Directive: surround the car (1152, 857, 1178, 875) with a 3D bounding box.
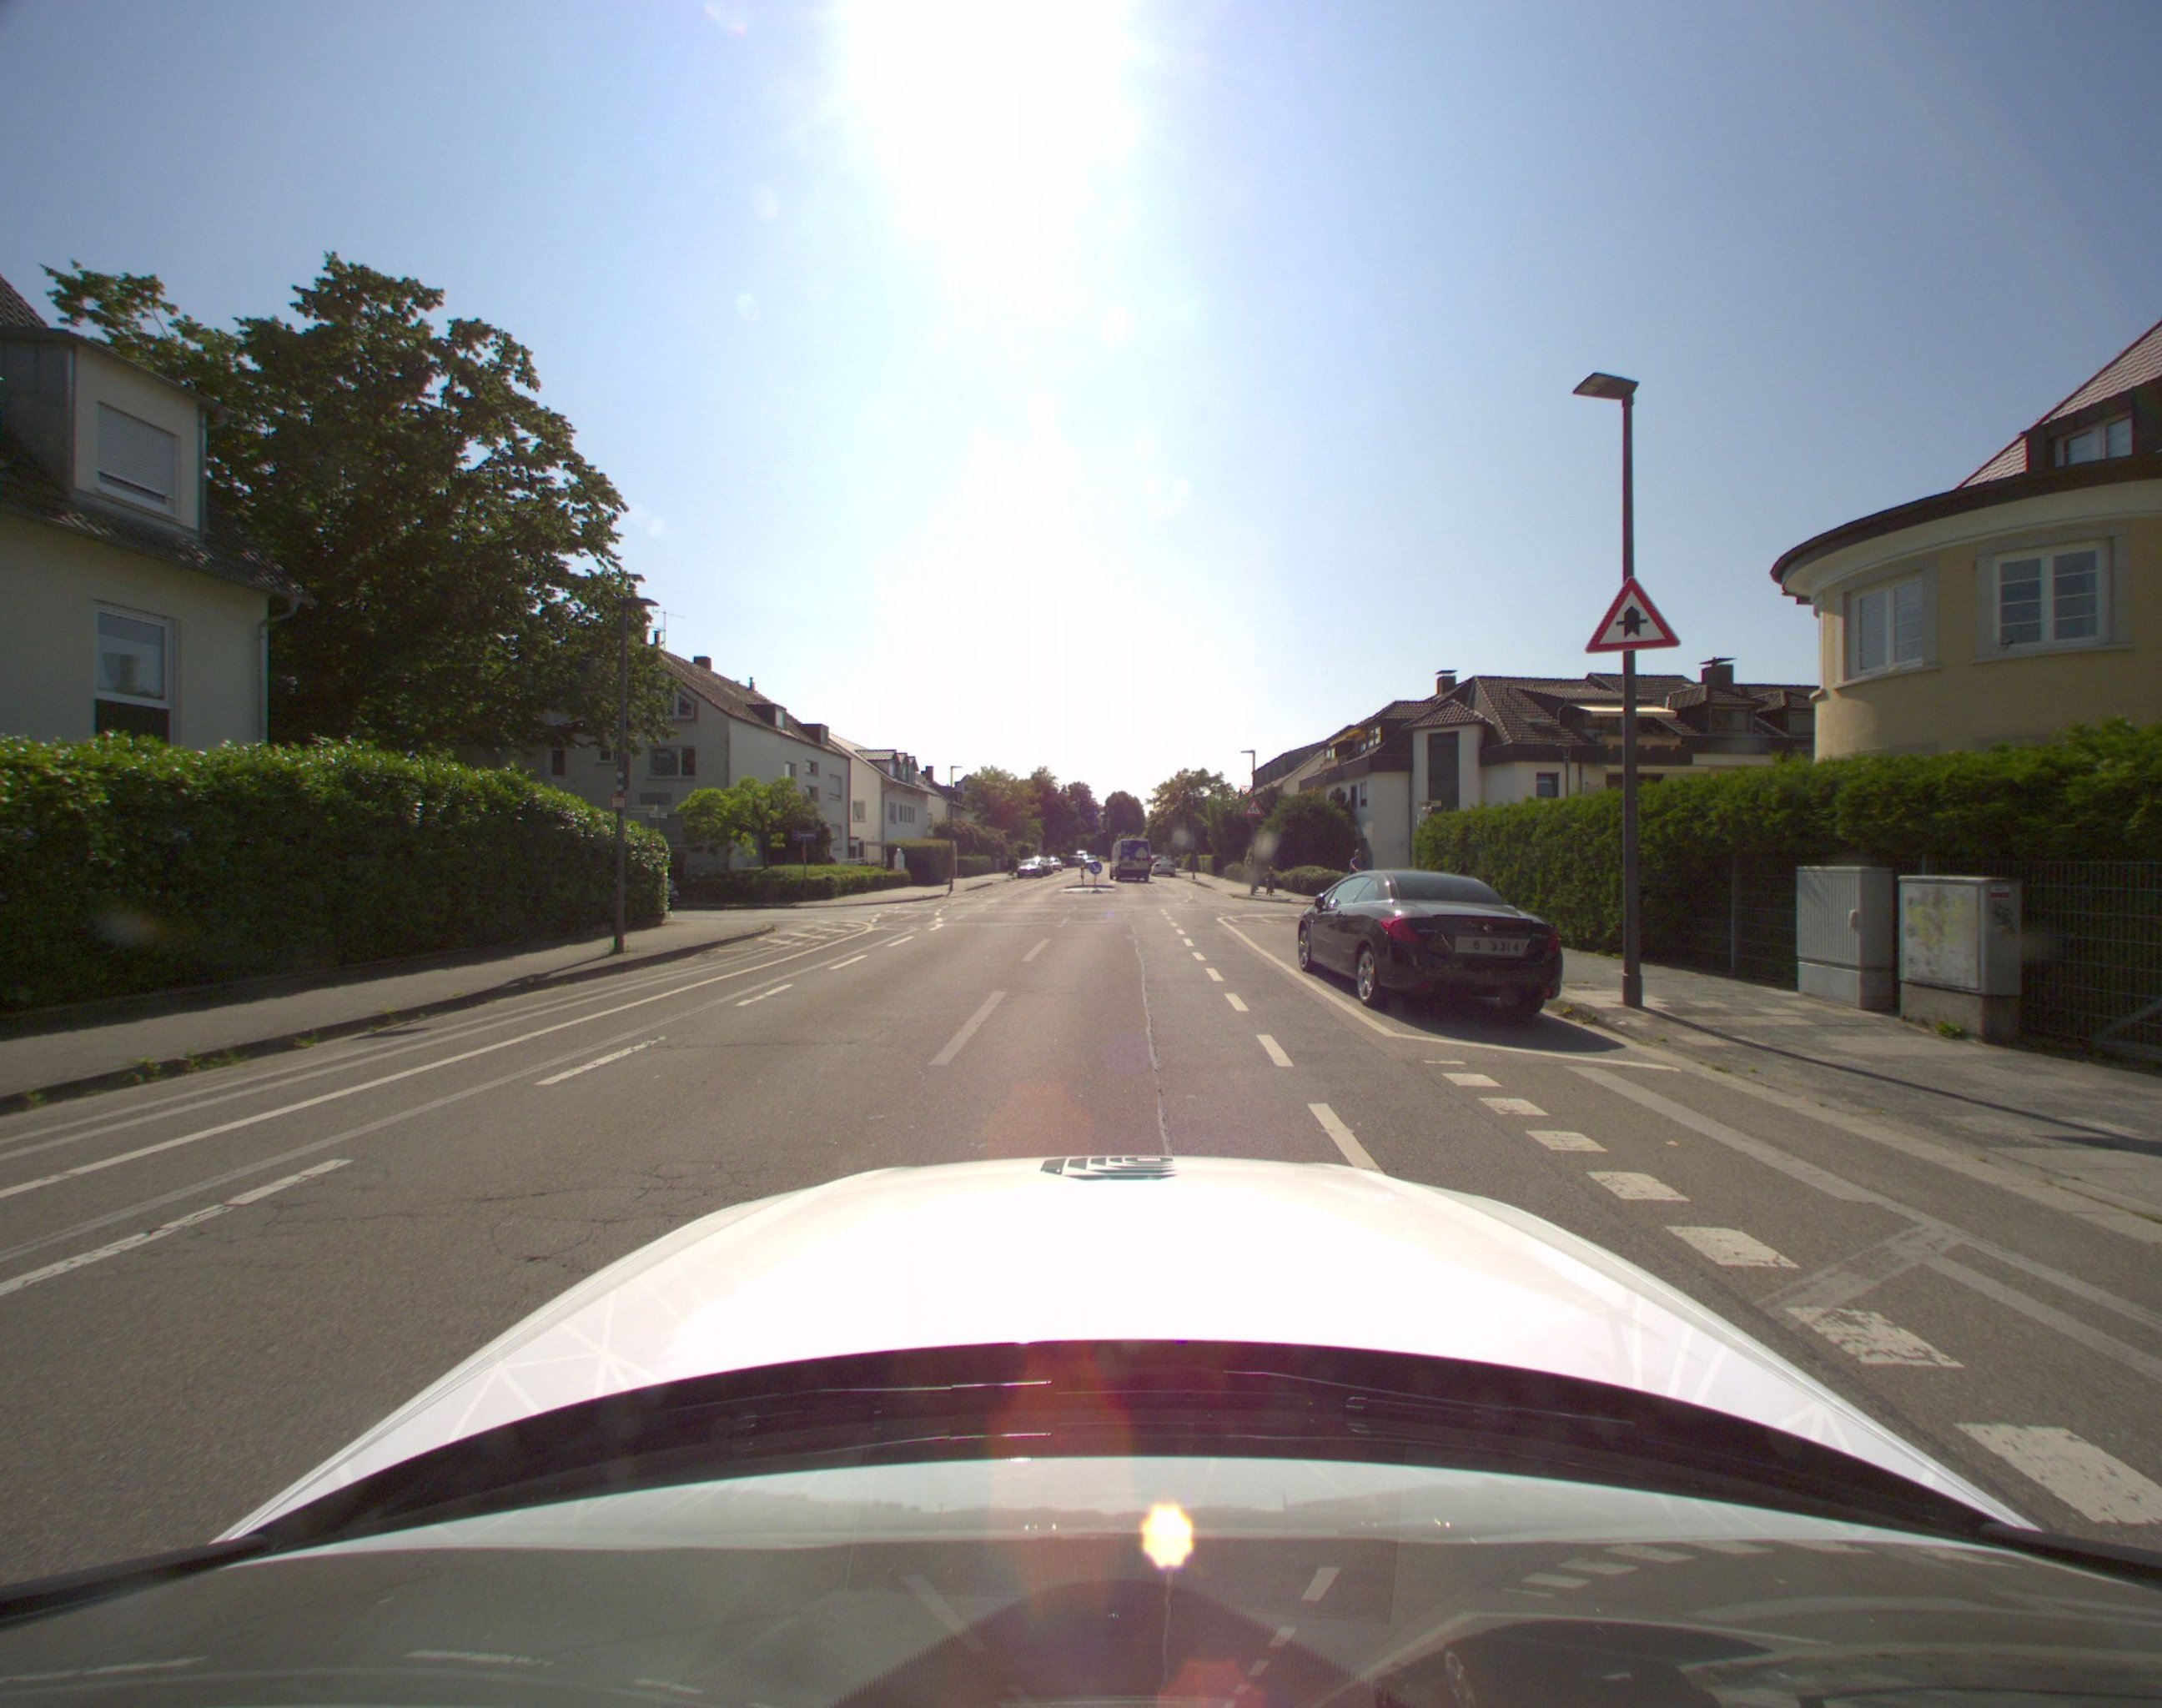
[{"bbox_3d":[6.598,0.913,64.369,1.734,1.402,4.075,0,0,1],"label":"car"}]

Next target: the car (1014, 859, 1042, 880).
[{"bbox_3d":[-3.958,1.152,61.347,1.780,1.440,4.153,-2,0,-1],"label":"car"}]

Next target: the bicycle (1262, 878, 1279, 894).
[{"bbox_3d":[7.596,1.271,32.608,0.400,0.599,1.173,0,0,0],"label":"bicycle"}]

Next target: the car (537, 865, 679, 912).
[{"bbox_3d":[-14.954,1.070,25.887,3.479,1.412,1.727,0,-1,1],"label":"car"}]

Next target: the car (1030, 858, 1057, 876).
[{"bbox_3d":[-3.112,1.081,68.319,1.777,1.440,4.115,-1,0,4],"label":"car"}]

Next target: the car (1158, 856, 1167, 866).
[{"bbox_3d":[14.678,1.293,146.870,1.692,1.677,3.780,0,-1,5],"label":"car"}]

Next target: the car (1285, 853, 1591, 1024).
[{"bbox_3d":[3.786,0.780,9.565,1.730,1.468,4.346,3,0,1],"label":"car"}]

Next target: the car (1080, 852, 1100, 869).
[{"bbox_3d":[0.998,0.694,87.728,1.906,1.666,4.510,-2,-1,4],"label":"car"}]

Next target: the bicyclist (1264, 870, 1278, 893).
[{"bbox_3d":[7.606,1.106,32.636,0.400,0.929,0.657,0,-1,0],"label":"bicyclist"}]

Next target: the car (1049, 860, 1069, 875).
[{"bbox_3d":[-2.281,1.399,84.774,1.778,1.440,4.002,0,0,2],"label":"car"}]

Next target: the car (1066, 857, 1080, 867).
[{"bbox_3d":[-1.142,1.135,118.777,1.774,1.460,4.087,0,0,2],"label":"car"}]

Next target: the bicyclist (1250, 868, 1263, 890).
[{"bbox_3d":[7.556,1.087,35.076,0.397,0.933,0.608,0,-1,0],"label":"bicyclist"}]

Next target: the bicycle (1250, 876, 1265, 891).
[{"bbox_3d":[7.580,1.279,35.052,0.400,0.599,1.151,0,0,0],"label":"bicycle"}]

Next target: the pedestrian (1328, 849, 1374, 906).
[{"bbox_3d":[9.111,0.785,27.523,0.904,1.872,1.177,1,-1,-31],"label":"pedestrian"}]

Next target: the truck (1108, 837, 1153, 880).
[{"bbox_3d":[3.088,0.301,51.519,2.268,2.571,4.385,0,-1,-4],"label":"truck"}]

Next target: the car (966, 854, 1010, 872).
[{"bbox_3d":[-9.167,0.865,80.644,3.971,1.759,2.001,0,0,2],"label":"car"}]

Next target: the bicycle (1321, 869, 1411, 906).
[{"bbox_3d":[9.326,1.080,26.717,2.676,1.158,0.869,0,-1,35],"label":"bicycle"}]
